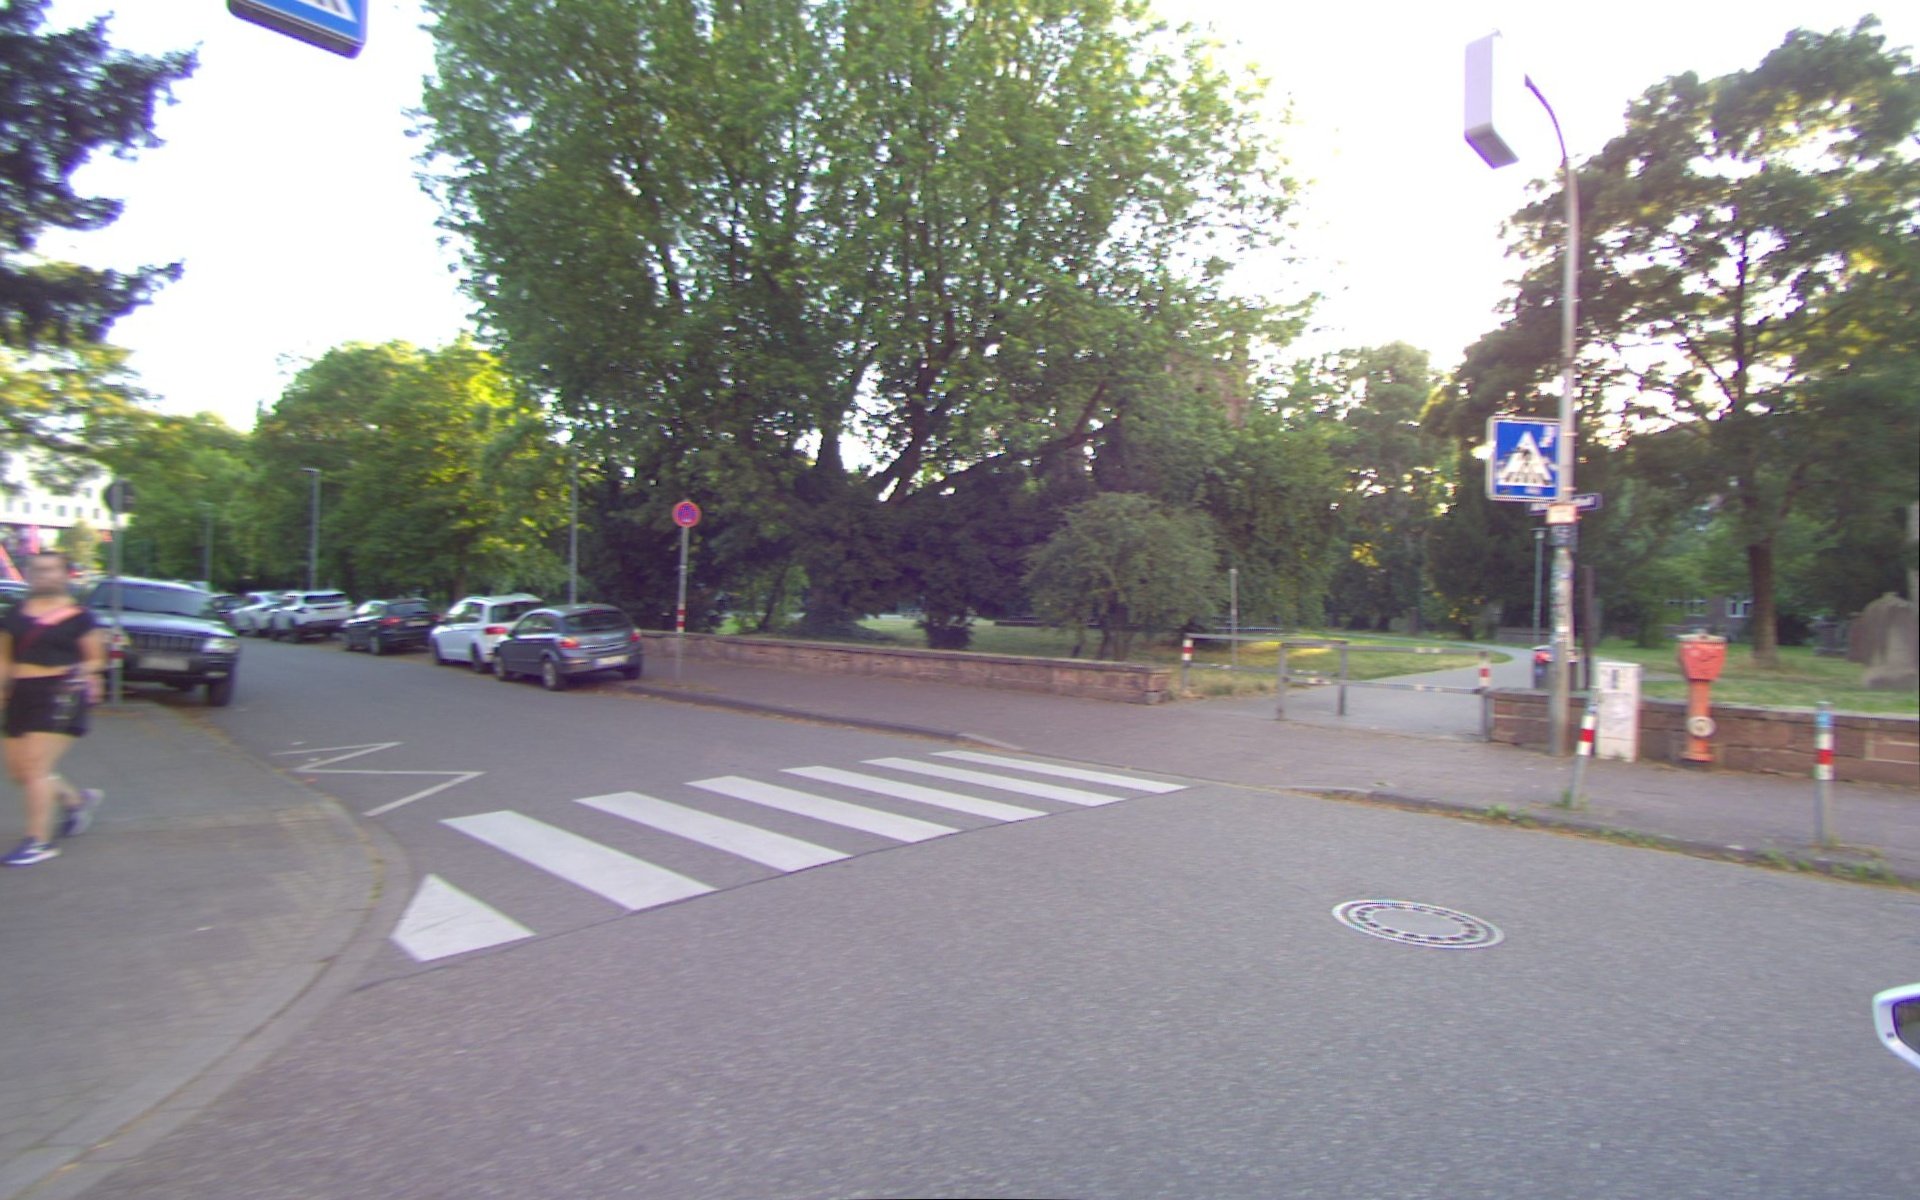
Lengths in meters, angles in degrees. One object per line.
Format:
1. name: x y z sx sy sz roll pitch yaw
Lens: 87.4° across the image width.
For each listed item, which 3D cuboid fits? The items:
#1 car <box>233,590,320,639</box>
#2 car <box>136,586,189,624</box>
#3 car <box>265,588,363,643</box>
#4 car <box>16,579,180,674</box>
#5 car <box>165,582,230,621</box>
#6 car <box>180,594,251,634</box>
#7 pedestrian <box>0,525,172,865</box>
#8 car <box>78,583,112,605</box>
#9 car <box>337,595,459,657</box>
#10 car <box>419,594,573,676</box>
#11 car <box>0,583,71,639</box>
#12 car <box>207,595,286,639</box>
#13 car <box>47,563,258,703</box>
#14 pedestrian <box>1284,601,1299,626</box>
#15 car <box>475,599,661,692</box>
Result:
1. car: -25.431 0.498 37.308 3.829 1.593 1.777 0 4 43
2. car: -47.239 0.278 59.462 3.829 2.064 1.777 0 4 43
3. car: -21.466 0.471 33.328 3.829 1.593 1.777 0 4 43
4. car: -16.156 0.483 18.767 3.829 1.519 1.778 0 -5 43
5. car: -39.558 0.056 52.113 3.829 1.861 1.954 0 4 43
6. car: -33.196 0.596 44.753 3.829 1.593 1.777 0 4 43
7. pedestrian: -5.075 0.497 5.586 0.853 1.748 0.817 7 -3 -33
8. car: -76.973 -0.505 89.393 3.955 1.807 1.777 0 4 43
9. car: -15.491 0.652 27.619 3.829 1.497 1.777 0 4 43
10. car: -10.564 0.710 22.780 3.829 1.599 1.777 0 4 43
11. car: -28.911 0.320 30.955 3.829 1.519 1.778 0 -5 43
12. car: -29.140 0.643 40.993 3.829 1.593 1.777 0 4 43
13. car: -11.871 0.465 14.684 3.829 1.776 1.778 0 -3 43
14. pedestrian: 22.208 0.909 67.254 0.660 1.691 0.661 1 0 -31
15. car: -7.570 0.781 19.247 3.829 1.471 1.777 0 4 43
